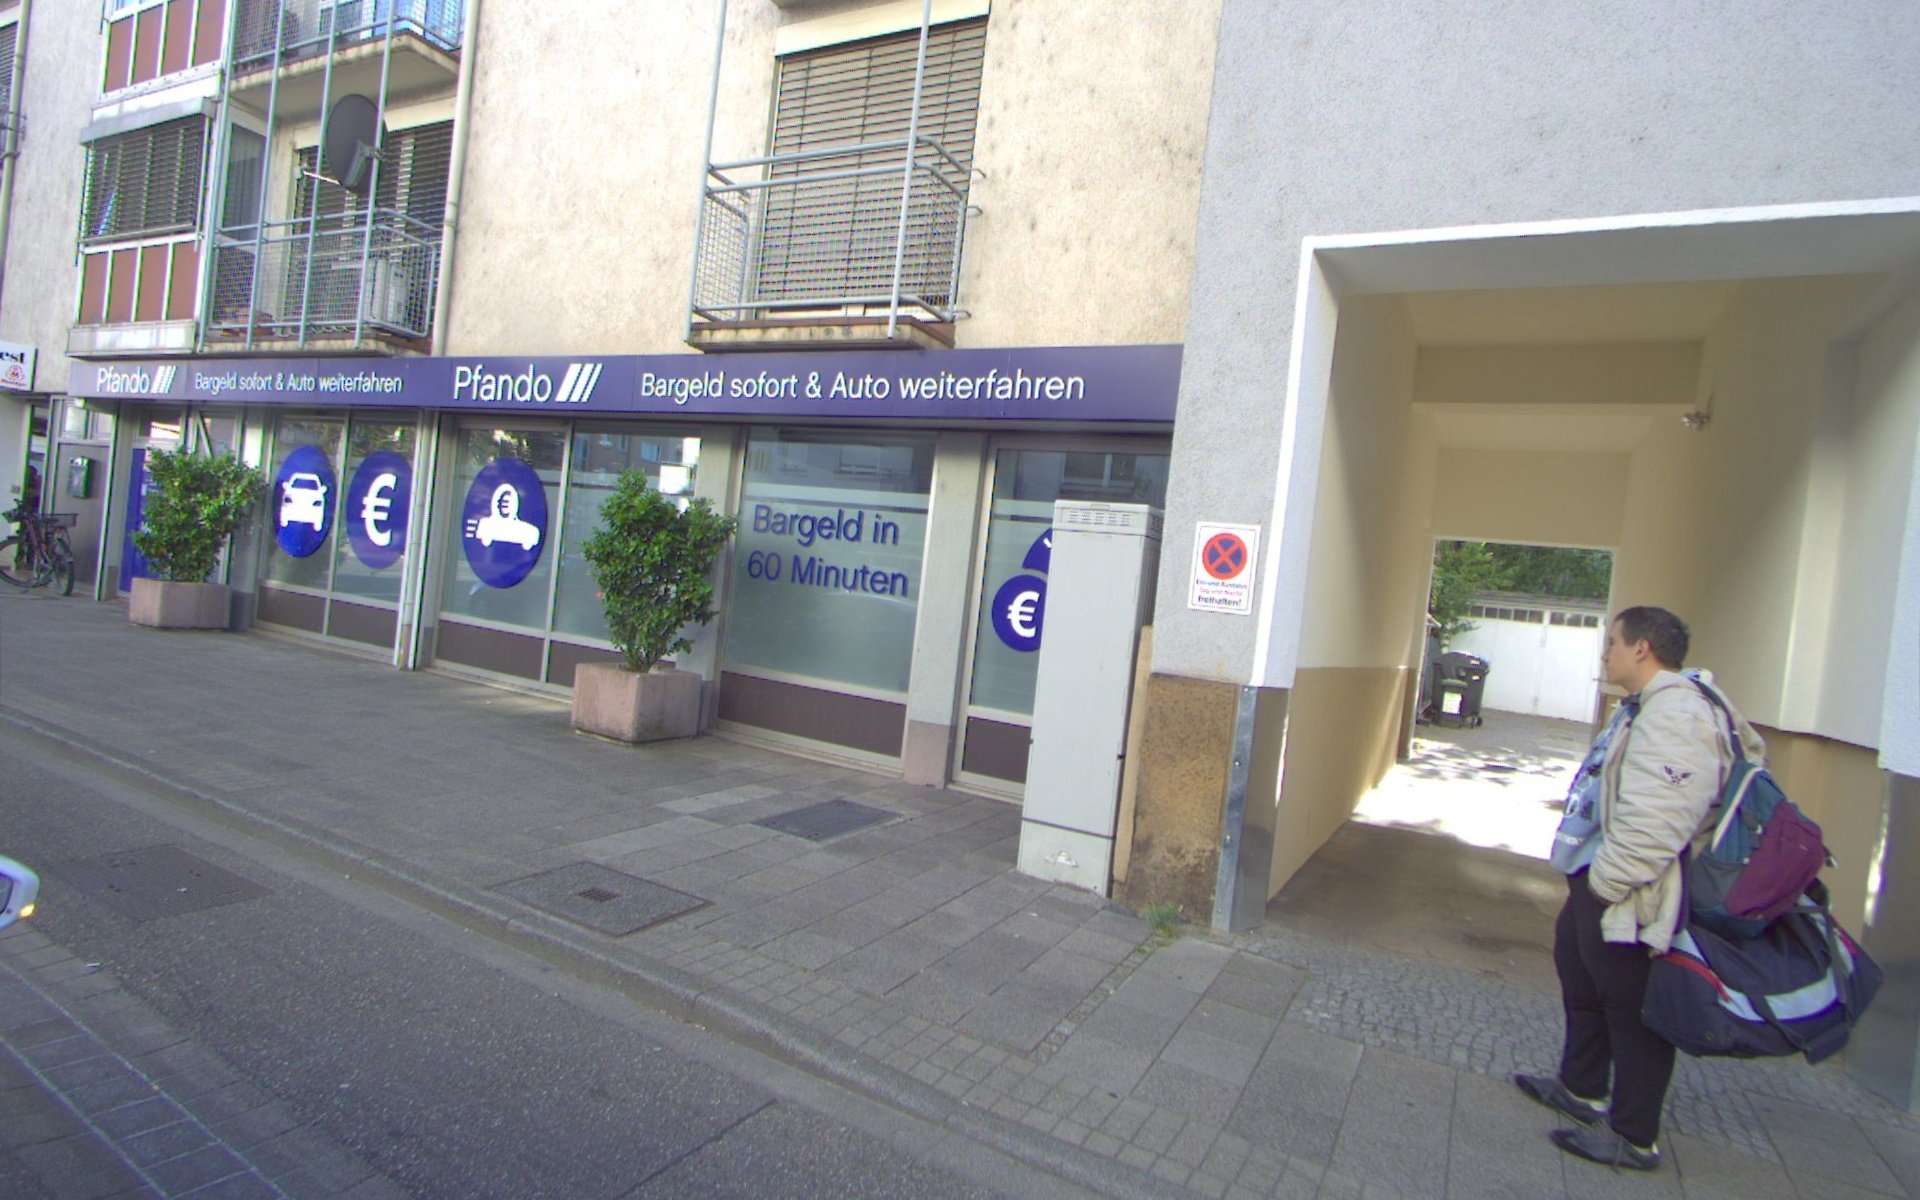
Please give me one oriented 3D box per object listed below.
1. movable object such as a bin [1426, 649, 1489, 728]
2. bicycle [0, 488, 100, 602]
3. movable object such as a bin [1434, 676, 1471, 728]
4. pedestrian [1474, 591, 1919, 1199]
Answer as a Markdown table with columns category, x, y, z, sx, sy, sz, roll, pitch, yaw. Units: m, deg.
| category | x | y | z | sx | sy | sz | roll | pitch | yaw |
| --- | --- | --- | --- | --- | --- | --- | --- | --- | --- |
| movable object such as a bin | 10.126 | 1.782 | 20.457 | 0.945 | 1.426 | 1.598 | 7 | 1 | 29 |
| bicycle | -11.830 | -0.729 | 12.878 | 1.879 | 1.280 | 0.640 | 7 | 1 | 32 |
| movable object such as a bin | 9.533 | 1.970 | 19.477 | 0.518 | 0.922 | 0.580 | 7 | 1 | 29 |
| pedestrian | 2.081 | 0.828 | 2.908 | 0.853 | 1.593 | 0.874 | 8 | 3 | 29 |
